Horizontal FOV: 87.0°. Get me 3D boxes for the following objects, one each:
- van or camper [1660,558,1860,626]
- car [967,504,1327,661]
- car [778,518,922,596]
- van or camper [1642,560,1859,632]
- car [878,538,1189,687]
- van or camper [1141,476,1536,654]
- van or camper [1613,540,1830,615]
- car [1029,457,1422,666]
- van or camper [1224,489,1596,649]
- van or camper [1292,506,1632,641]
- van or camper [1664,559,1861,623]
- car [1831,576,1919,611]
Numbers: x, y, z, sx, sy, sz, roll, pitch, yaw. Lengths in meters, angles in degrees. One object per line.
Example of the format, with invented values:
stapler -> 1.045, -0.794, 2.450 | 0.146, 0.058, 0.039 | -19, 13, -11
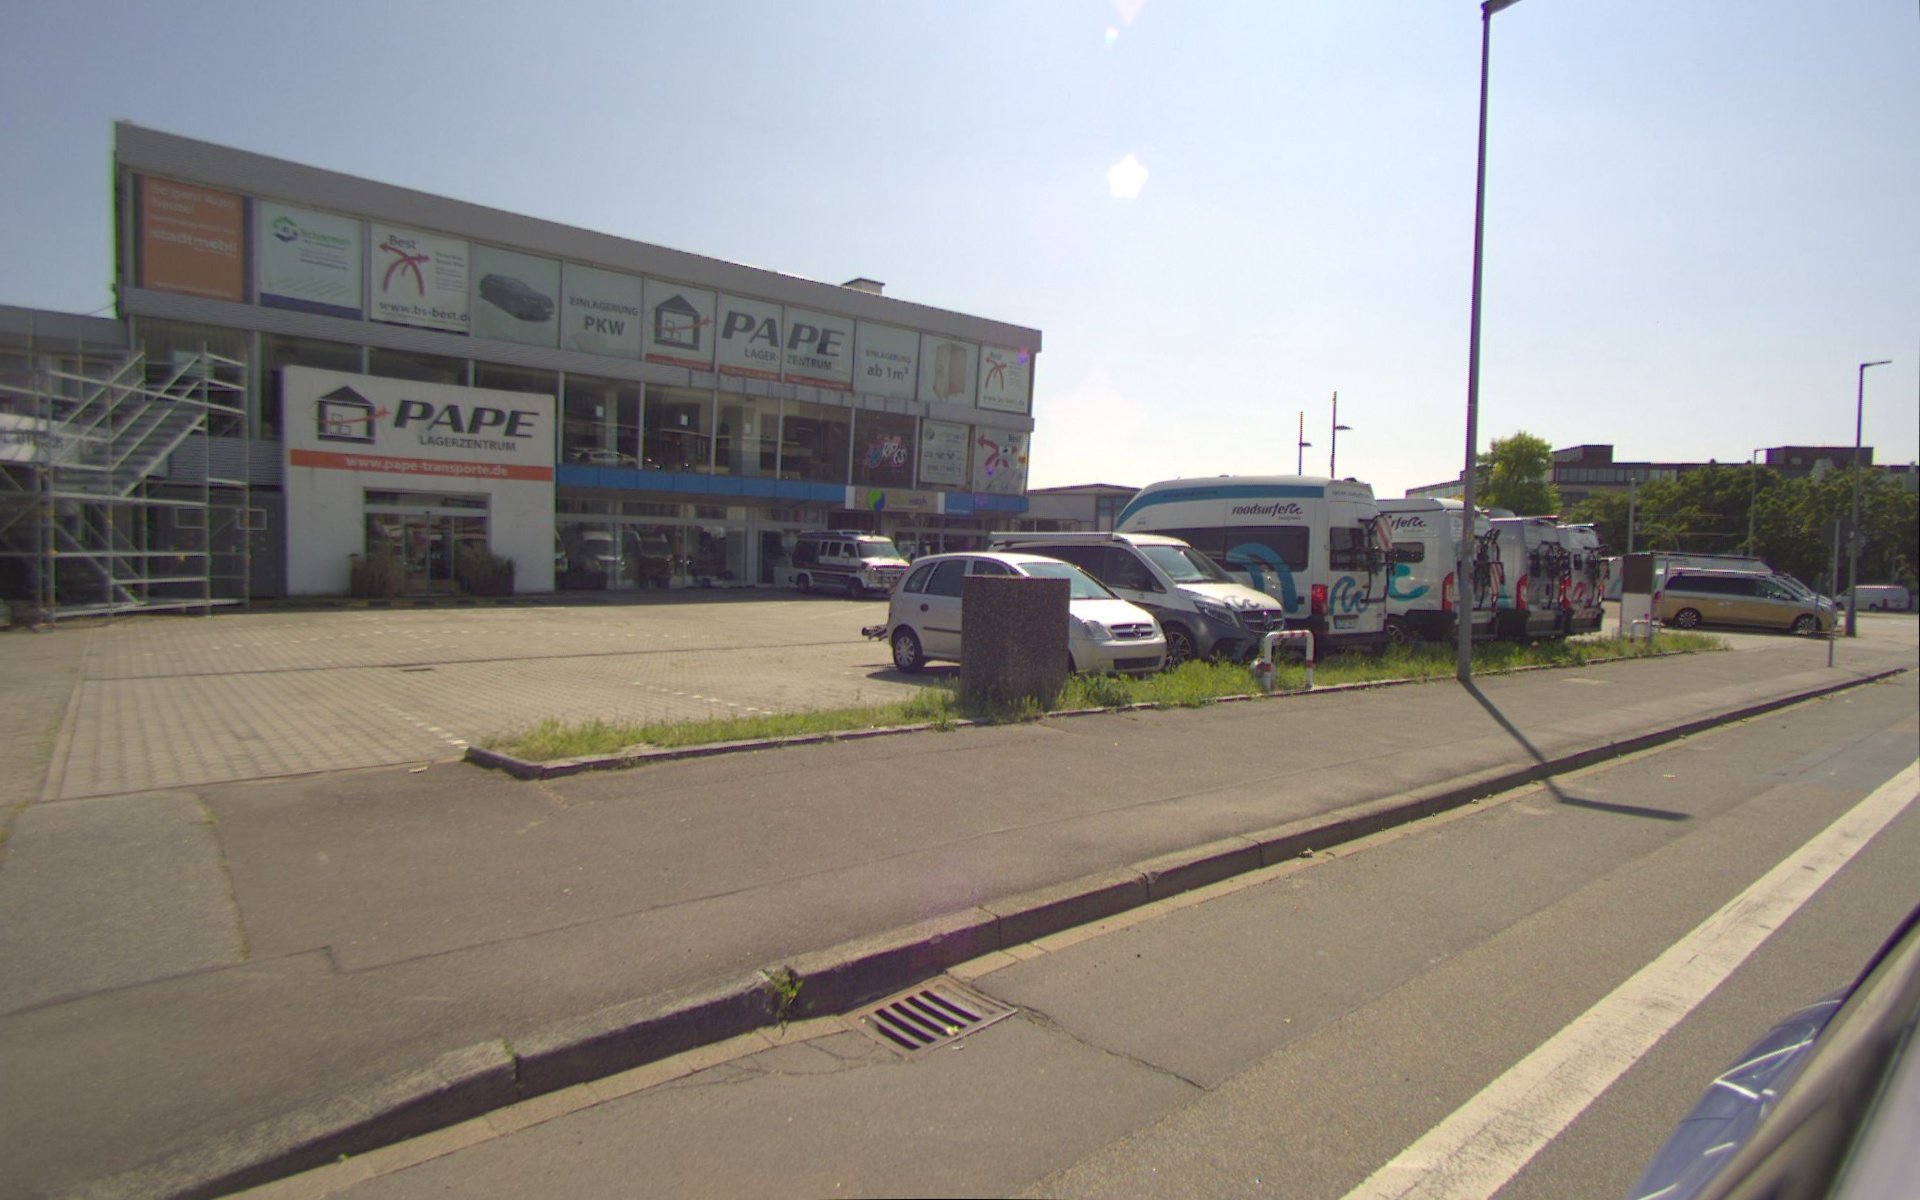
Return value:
van or camper -> 27.616, -0.336, 35.164 | 4.921, 2.070, 2.030 | 3, 3, 20
car -> 2.580, -0.394, 15.314 | 1.965, 1.975, 5.247 | 0, 4, -40
car -> -3.838, -1.493, 34.406 | 2.285, 2.448, 5.309 | 0, 3, -40
van or camper -> 25.608, -0.204, 33.049 | 5.073, 1.984, 1.975 | 3, 4, 20
car -> 0.800, 0.102, 13.012 | 1.766, 1.613, 3.929 | 0, 1, -40
van or camper -> 6.746, -0.706, 18.877 | 2.664, 2.733, 6.365 | 0, 3, -40
van or camper -> 30.204, -0.943, 40.424 | 6.271, 2.669, 2.523 | 2, 2, 14
car -> 4.170, -0.699, 17.190 | 2.279, 2.904, 6.243 | 0, 3, -40
van or camper -> 8.885, -0.706, 20.665 | 2.664, 2.749, 6.365 | 0, 3, -40
van or camper -> 10.887, -0.669, 22.486 | 2.572, 2.555, 6.211 | 0, 3, -40
van or camper -> 29.574, -0.397, 37.560 | 5.072, 2.101, 2.439 | 2, 2, 18
car -> 65.434, -0.500, 71.901 | 2.172, 2.159, 5.533 | 3, 3, 1
